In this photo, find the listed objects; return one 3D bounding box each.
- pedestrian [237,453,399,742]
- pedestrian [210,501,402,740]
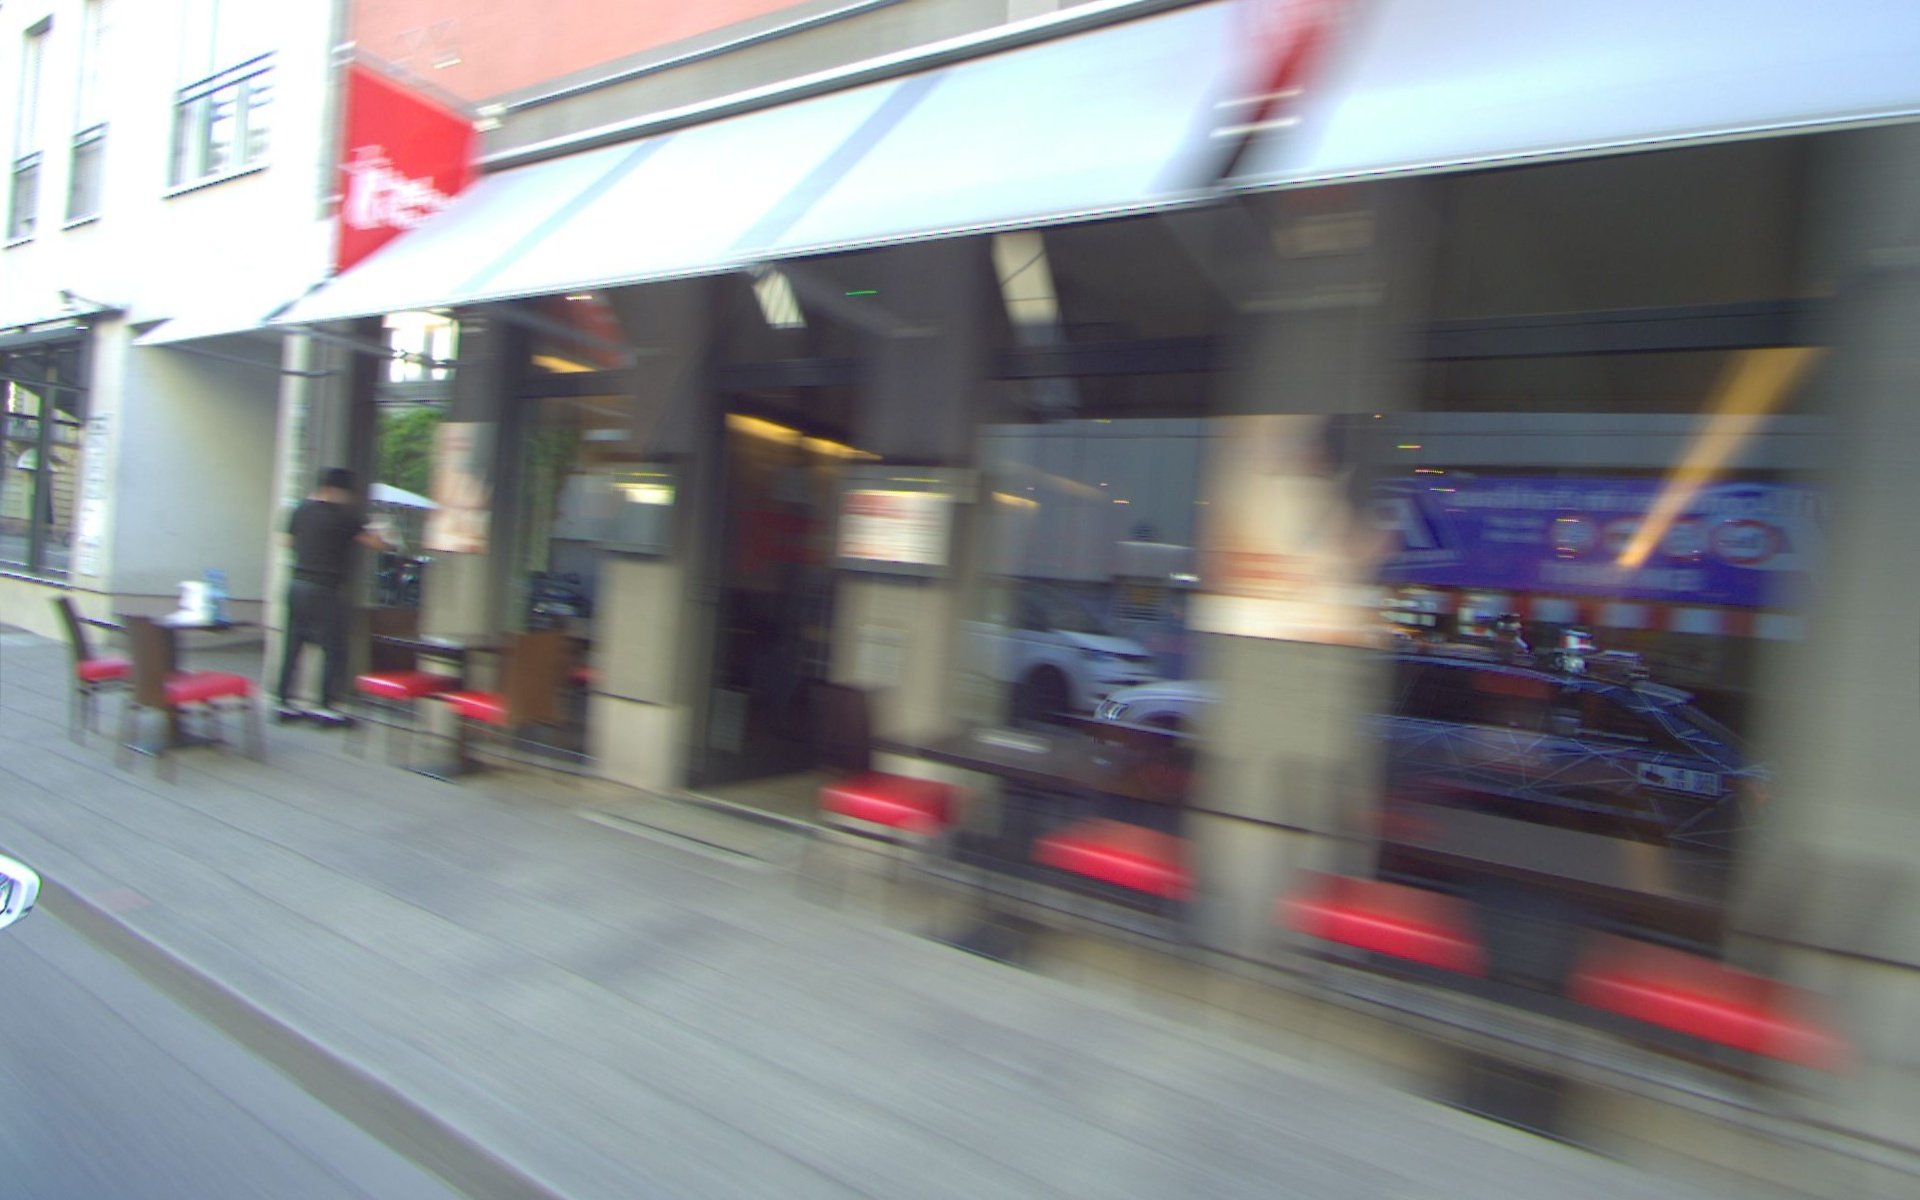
[{"bbox_3d":[-4.333,-0.036,6.792,0.718,1.818,0.657,6,4,32],"label":"pedestrian"},{"bbox_3d":[-4.489,0.136,6.927,0.650,1.505,0.825,6,1,30],"label":"pedestrian"}]
